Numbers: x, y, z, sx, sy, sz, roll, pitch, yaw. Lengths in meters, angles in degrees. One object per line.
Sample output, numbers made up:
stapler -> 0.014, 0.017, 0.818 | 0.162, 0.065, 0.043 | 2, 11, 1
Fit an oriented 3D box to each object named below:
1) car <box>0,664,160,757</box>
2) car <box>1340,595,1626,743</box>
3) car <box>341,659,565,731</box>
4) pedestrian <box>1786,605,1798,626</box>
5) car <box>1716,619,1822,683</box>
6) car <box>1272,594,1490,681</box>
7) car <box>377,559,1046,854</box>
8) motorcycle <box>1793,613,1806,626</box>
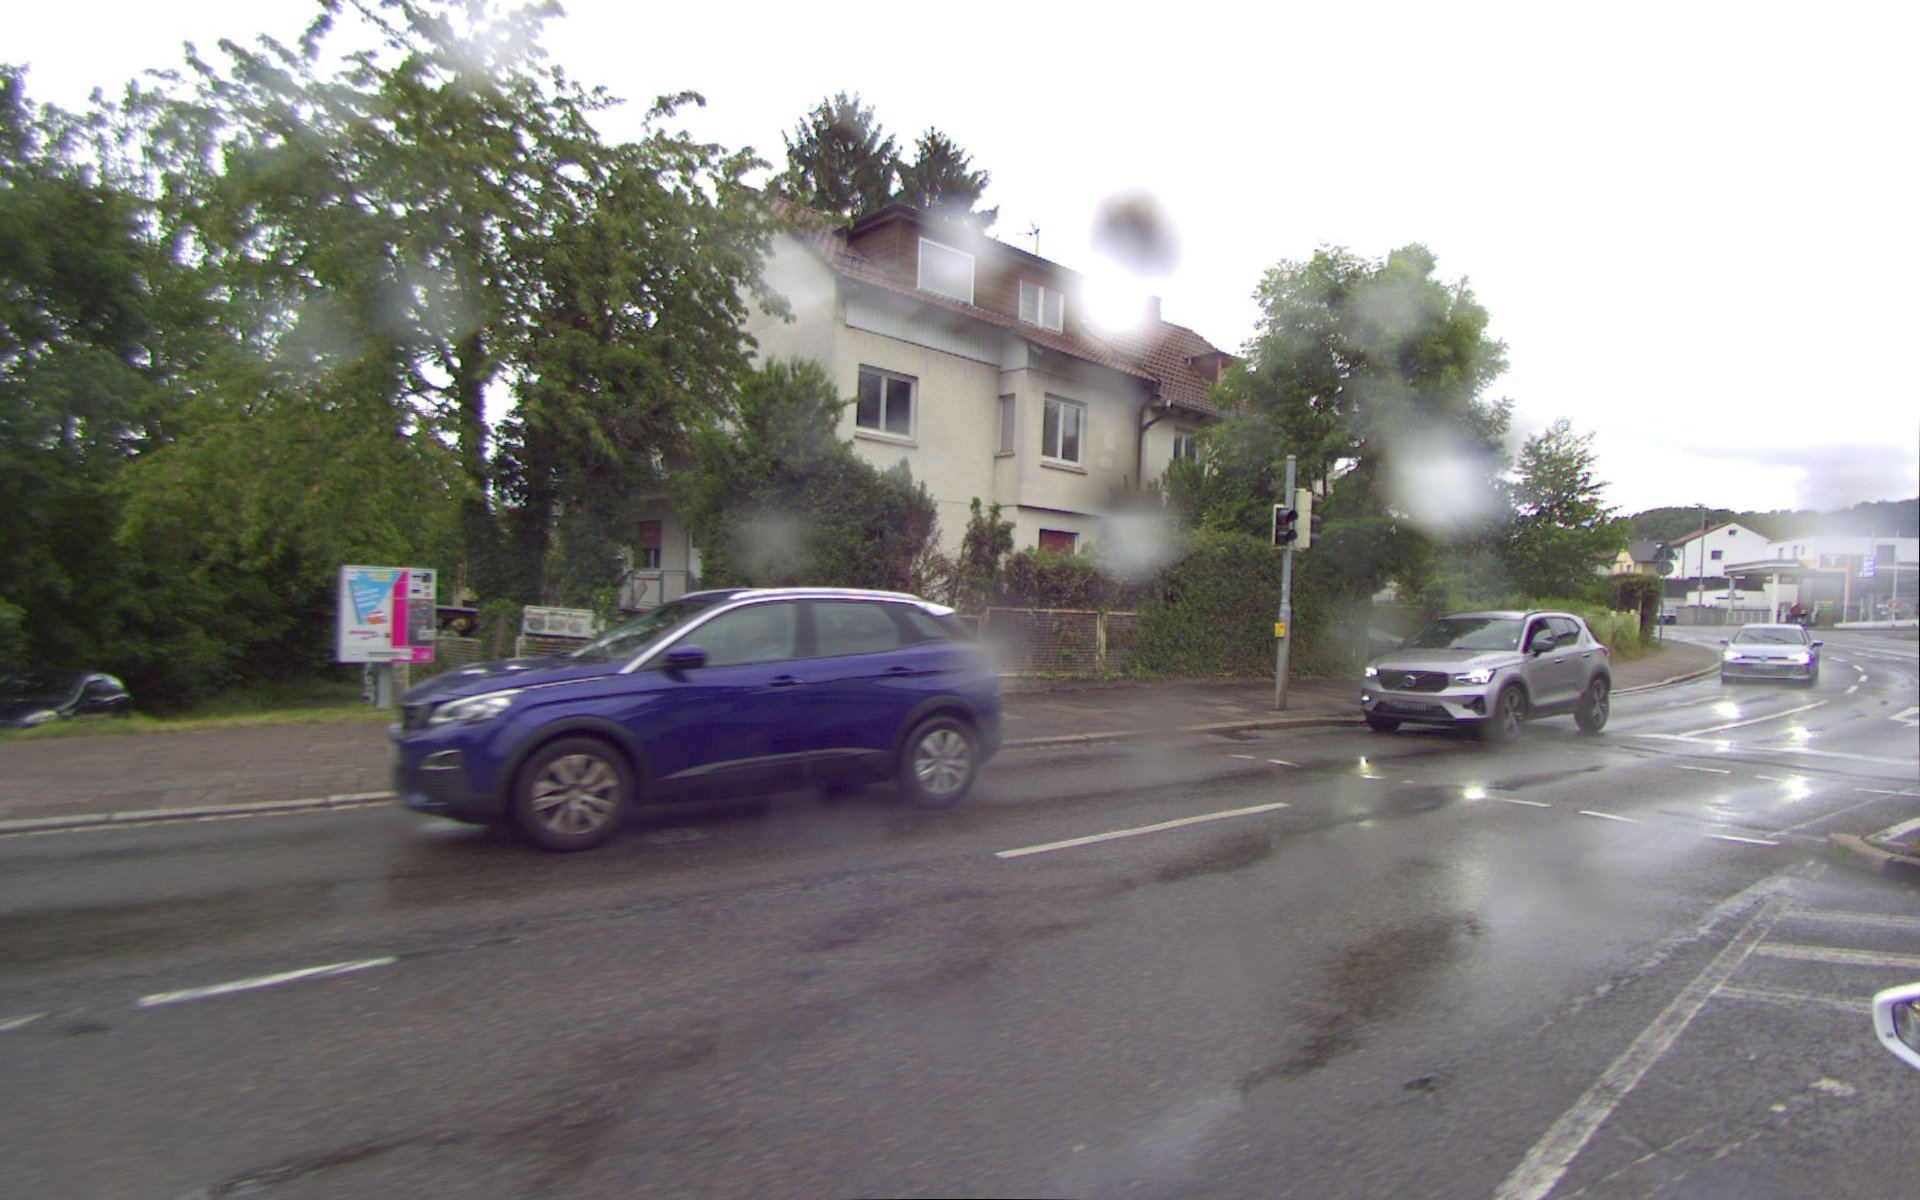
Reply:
car -> -16.626, 1.947, 18.420 | 1.816, 1.375, 3.982 | 2, -2, -20
car -> 7.222, 0.886, 13.717 | 4.194, 1.700, 1.868 | 3, -1, -38
car -> -10.998, 1.999, 22.011 | 1.817, 1.375, 3.980 | 0, -3, 41
pedestrian -> 66.804, 1.271, 80.640 | 0.601, 1.678, 0.585 | 2, 0, 29
car -> 21.140, 1.324, 26.182 | 1.659, 1.469, 4.659 | 2, -1, 45
car -> 9.236, 0.761, 22.228 | 1.920, 1.413, 3.947 | 1, 4, -44
car -> -1.662, 0.660, 7.386 | 4.401, 1.574, 1.853 | 2, -2, -34
motorcycle -> 67.188, 1.559, 80.376 | 0.455, 1.069, 1.388 | 2, -1, 28
